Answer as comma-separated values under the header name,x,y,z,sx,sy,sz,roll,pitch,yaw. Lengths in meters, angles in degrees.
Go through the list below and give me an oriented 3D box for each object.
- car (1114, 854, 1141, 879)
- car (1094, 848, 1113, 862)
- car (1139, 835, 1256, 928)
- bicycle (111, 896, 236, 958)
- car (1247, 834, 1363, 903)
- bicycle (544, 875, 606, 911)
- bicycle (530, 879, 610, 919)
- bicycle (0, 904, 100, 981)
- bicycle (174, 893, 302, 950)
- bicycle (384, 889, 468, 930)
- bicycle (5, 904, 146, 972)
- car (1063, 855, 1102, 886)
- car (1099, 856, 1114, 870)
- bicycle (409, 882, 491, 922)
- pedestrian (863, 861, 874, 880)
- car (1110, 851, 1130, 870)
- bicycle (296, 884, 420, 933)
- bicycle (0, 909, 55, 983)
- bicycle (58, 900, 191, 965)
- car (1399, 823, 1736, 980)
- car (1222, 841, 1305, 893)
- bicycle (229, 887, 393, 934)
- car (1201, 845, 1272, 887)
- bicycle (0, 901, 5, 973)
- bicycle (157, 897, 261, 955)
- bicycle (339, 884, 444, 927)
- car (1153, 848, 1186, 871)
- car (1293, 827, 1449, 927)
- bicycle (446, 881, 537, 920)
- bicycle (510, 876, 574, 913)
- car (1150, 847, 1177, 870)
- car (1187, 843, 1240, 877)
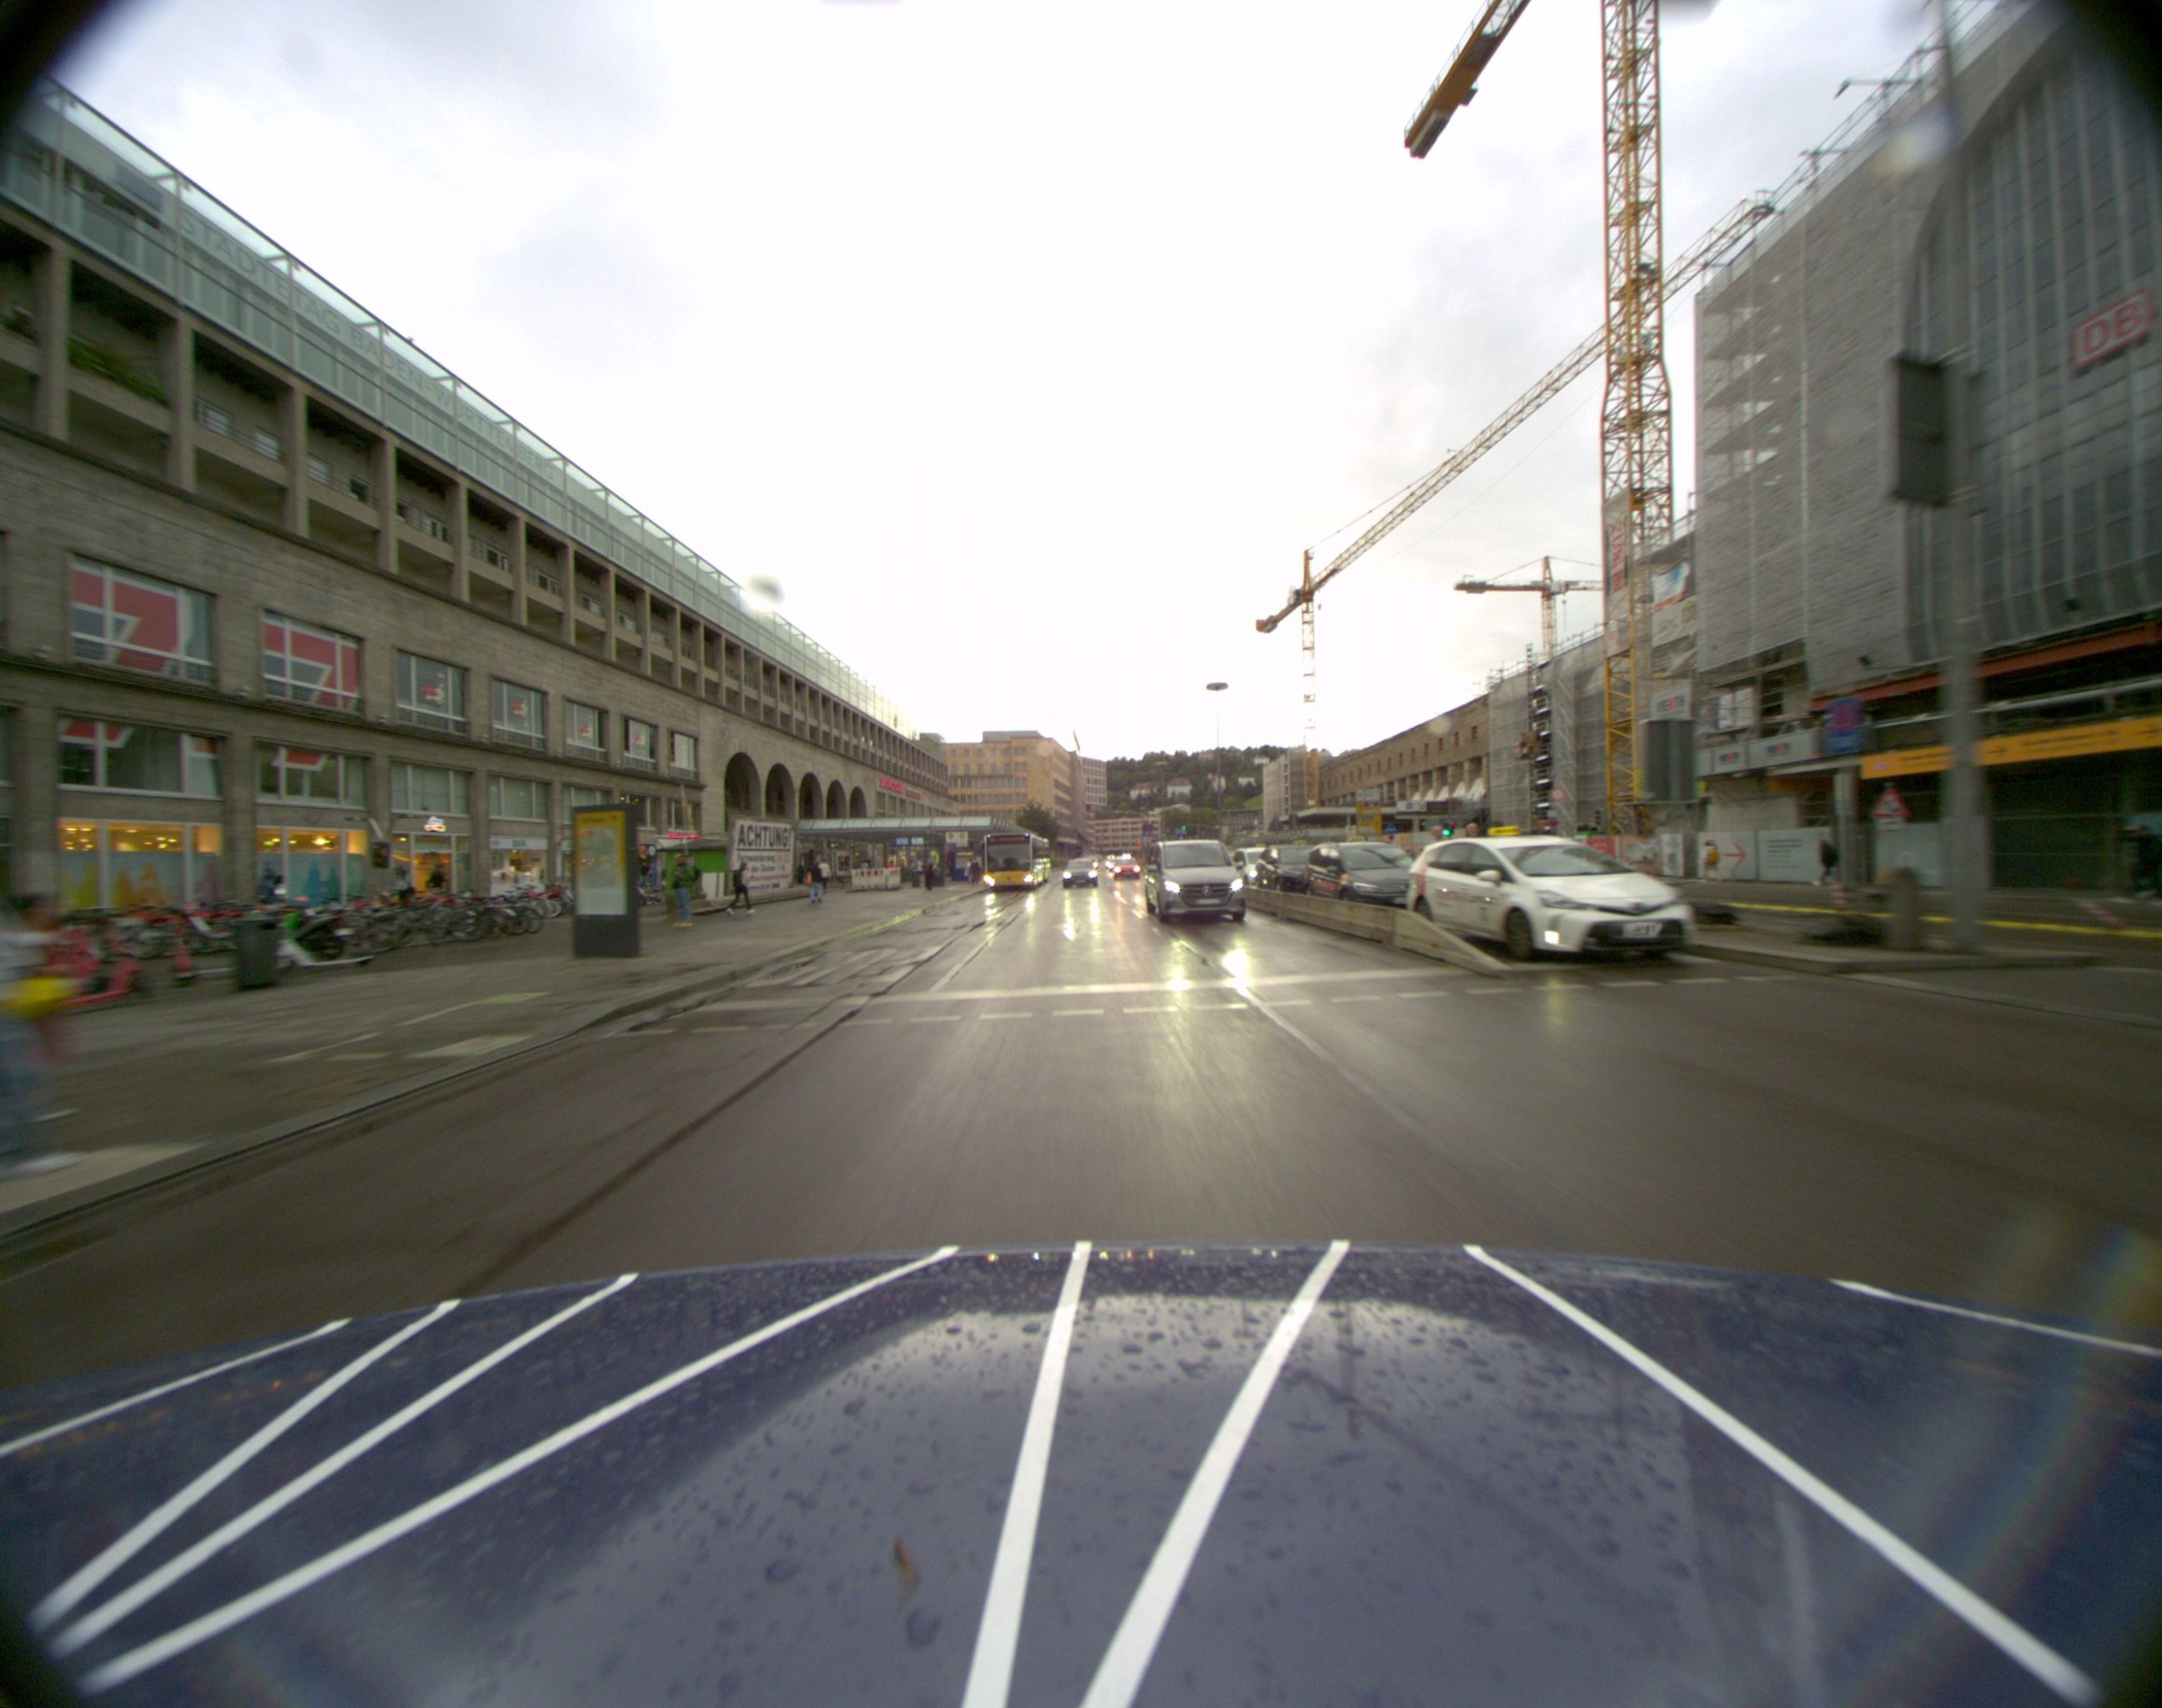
name,x,y,z,sx,sy,sz,roll,pitch,yaw
car,3.141,0.821,51.845,1.709,1.485,3.670,-2,1,3
car,2.533,0.076,85.252,1.998,1.548,3.909,-2,0,3
car,2.680,0.576,18.745,1.998,1.893,5.250,-3,0,0
bicycle,-19.347,1.542,16.212,1.994,1.258,0.618,0,1,3
car,6.413,0.375,22.359,1.998,1.776,4.847,-1,0,0
bicycle,-18.164,1.374,27.288,1.992,1.230,0.618,0,1,12
bicycle,-17.334,1.505,25.832,0.616,1.230,2.193,1,1,36
bicycle,-19.554,1.625,14.096,1.994,1.327,0.618,0,1,3
bicycle,-19.447,1.550,17.574,1.996,1.230,0.617,0,1,-12
bicycle,-18.696,1.578,21.731,1.696,1.103,0.673,0,1,-14
bicycle,-19.535,1.626,14.782,1.994,1.230,0.618,0,1,3
car,0.135,0.883,42.108,1.822,1.455,4.701,-4,0,3
car,3.373,1.187,100.314,1.872,1.715,3.902,-2,1,2
bicycle,-18.660,1.418,22.526,1.737,1.103,0.687,0,1,-21
pedestrian,-18.626,1.410,66.660,0.795,1.609,0.870,-1,1,-9
car,3.993,0.646,78.503,1.872,1.747,3.902,-2,1,2
bicycle,-18.951,1.417,19.978,2.233,1.103,0.741,-3,1,-14
bicycle,-19.558,1.608,13.458,1.994,1.230,0.618,0,1,3
bicycle,-19.439,1.589,15.458,1.994,1.230,0.618,0,1,3
car,6.269,0.510,10.608,1.791,1.676,4.666,-1,0,1
car,6.726,0.436,28.504,1.999,1.776,4.453,-1,0,-1
bicycle,-19.243,1.393,19.062,2.887,1.103,0.879,0,1,-11
car,6.765,0.485,33.589,2.054,1.701,5.054,-1,0,0
bicycle,-19.583,1.418,12.837,1.994,1.230,0.618,0,1,3
bicycle,-19.315,1.580,16.845,1.620,1.218,0.618,0,1,3
bicycle,-18.919,1.395,20.899,1.984,1.103,0.824,0,1,-13
car,6.930,0.402,59.935,1.998,1.696,4.832,-1,0,0
car,6.159,0.423,16.754,1.718,1.881,4.610,-1,0,1
bicycle,-18.449,1.445,23.845,2.093,1.133,0.888,0,1,-25
bicycle,-18.818,1.406,26.543,1.992,1.230,0.618,0,1,11
car,7.109,0.337,65.685,1.998,1.851,4.833,-1,0,3
car,6.920,0.284,40.167,1.998,1.644,4.641,-1,0,0
